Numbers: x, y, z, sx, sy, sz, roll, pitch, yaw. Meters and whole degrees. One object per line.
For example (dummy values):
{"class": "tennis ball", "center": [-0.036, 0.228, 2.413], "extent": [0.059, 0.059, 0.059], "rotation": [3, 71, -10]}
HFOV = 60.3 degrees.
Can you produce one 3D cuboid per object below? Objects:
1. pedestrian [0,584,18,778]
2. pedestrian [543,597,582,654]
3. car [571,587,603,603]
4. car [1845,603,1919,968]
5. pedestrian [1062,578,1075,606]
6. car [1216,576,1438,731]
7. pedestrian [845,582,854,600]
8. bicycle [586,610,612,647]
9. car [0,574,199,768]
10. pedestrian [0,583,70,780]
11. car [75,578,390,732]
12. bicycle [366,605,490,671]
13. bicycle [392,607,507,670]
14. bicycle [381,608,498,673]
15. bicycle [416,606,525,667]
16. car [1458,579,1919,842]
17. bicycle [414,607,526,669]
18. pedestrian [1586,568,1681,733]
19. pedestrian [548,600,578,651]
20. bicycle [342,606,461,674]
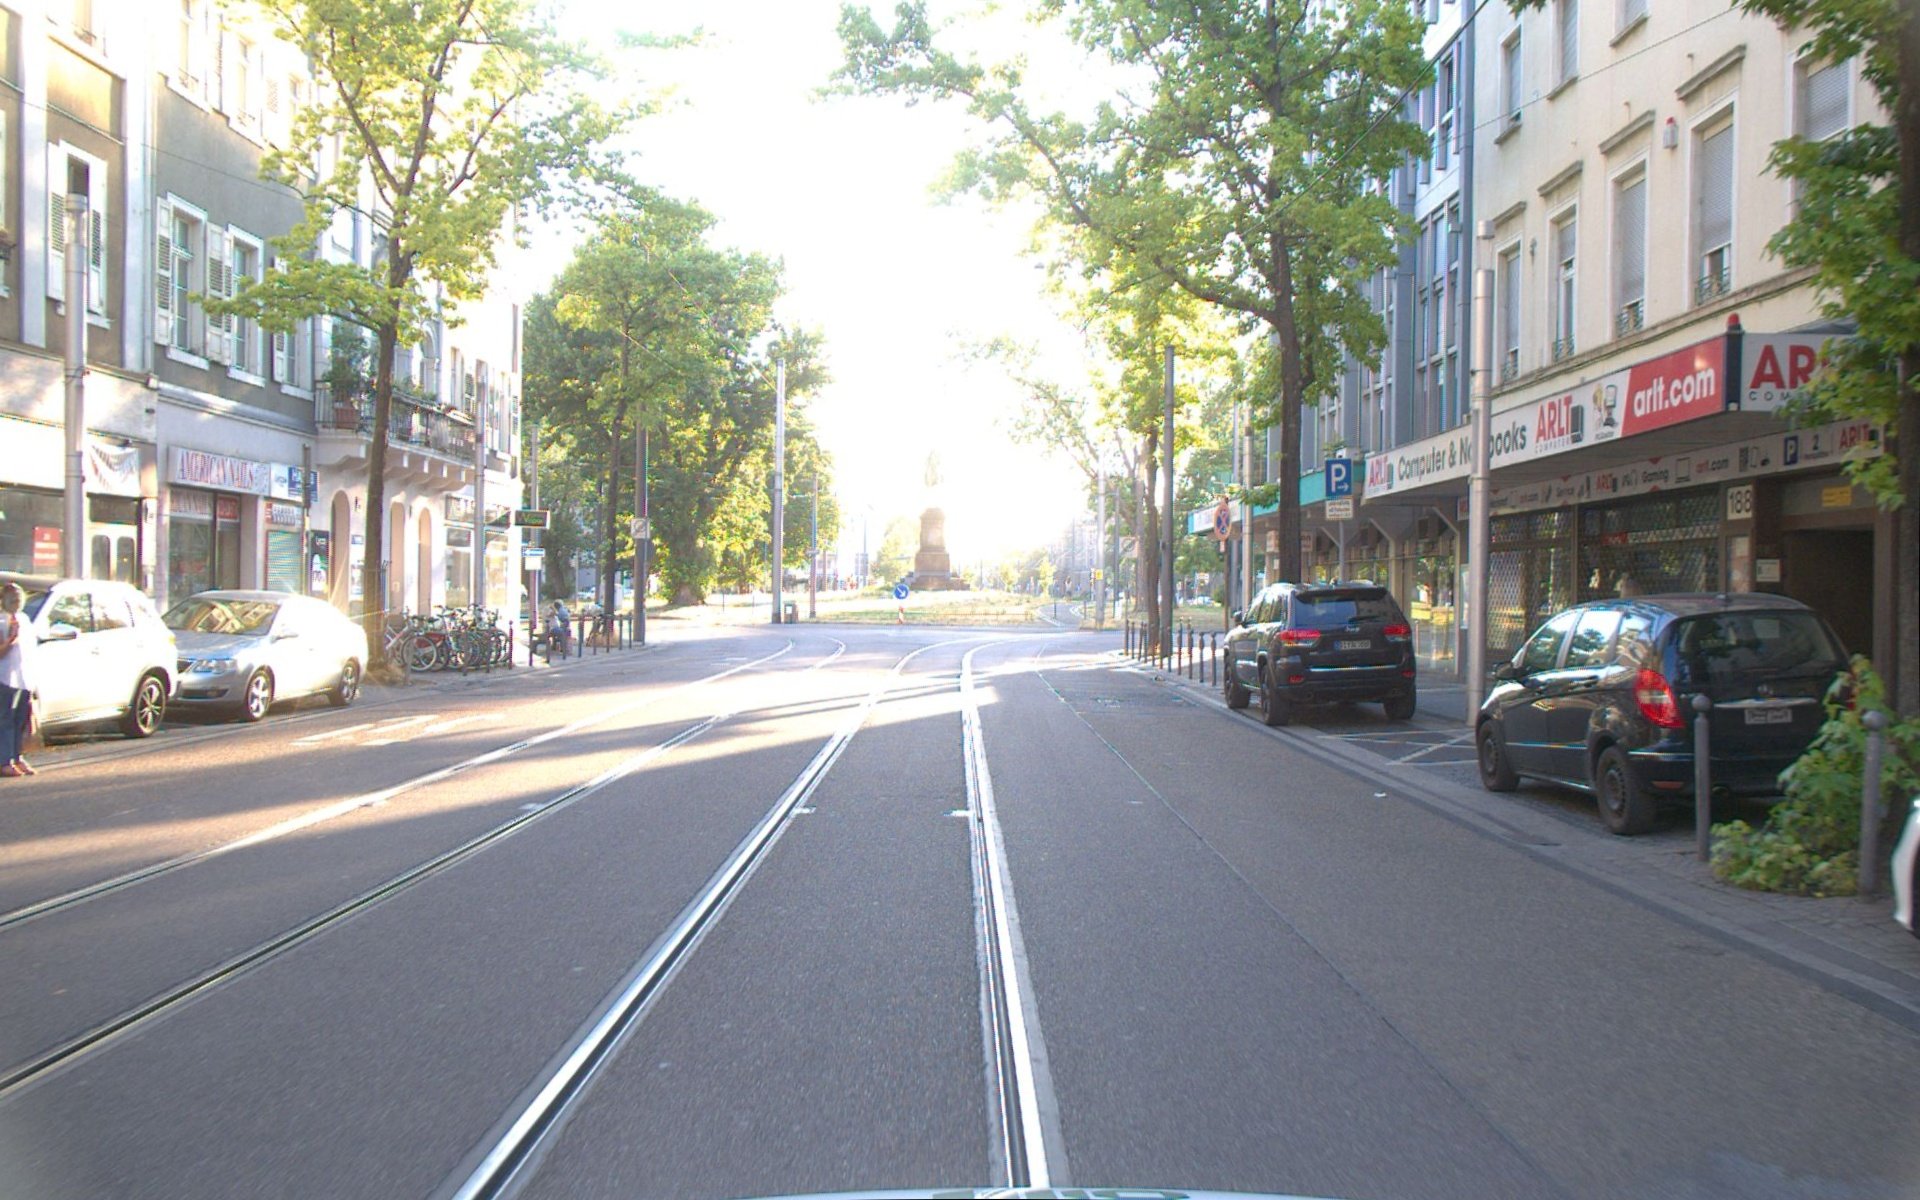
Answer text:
{"class": "pedestrian", "center": [-7.906, 0.642, 12.960], "extent": [0.607, 1.536, 0.729], "rotation": [0, -1, 0]}
{"class": "pedestrian", "center": [-9.411, 0.601, 39.197], "extent": [0.713, 1.313, 0.856], "rotation": [1, 0, -3]}
{"class": "car", "center": [-34.131, -0.473, 151.499], "extent": [1.838, 1.445, 3.926], "rotation": [1, 0, 2]}
{"class": "car", "center": [4.985, 0.764, 5.141], "extent": [1.953, 1.524, 4.680], "rotation": [-3, 0, 1]}
{"class": "pedestrian", "center": [6.499, -0.488, 98.962], "extent": [0.622, 1.634, 0.772], "rotation": [0, 0, 14]}
{"class": "car", "center": [4.855, 0.640, 22.568], "extent": [1.899, 1.790, 4.679], "rotation": [-3, 0, 0]}
{"class": "pedestrian", "center": [-9.862, -0.823, 147.755], "extent": [0.754, 1.634, 0.637], "rotation": [0, 0, -7]}
{"class": "bicycle", "center": [-9.710, 0.752, 44.499], "extent": [0.329, 0.962, 1.510], "rotation": [0, 0, 1]}
{"class": "car", "center": [-9.264, 0.599, 15.983], "extent": [1.799, 1.607, 4.116], "rotation": [4, 0, 0]}
{"class": "pedestrian", "center": [-7.834, 0.664, 13.743], "extent": [0.510, 1.596, 0.634], "rotation": [0, -1, 0]}
{"class": "car", "center": [-9.024, 0.611, 21.022], "extent": [1.799, 1.607, 4.702], "rotation": [4, 0, 0]}
{"class": "bicycle", "center": [-9.706, 0.706, 30.207], "extent": [2.082, 1.124, 0.497], "rotation": [3, -1, -26]}
{"class": "bicycle", "center": [-9.700, 0.738, 31.433], "extent": [1.998, 1.124, 0.497], "rotation": [3, -1, -26]}
{"class": "bicycle", "center": [-9.701, 0.755, 30.846], "extent": [1.998, 1.124, 0.497], "rotation": [3, -1, -26]}
{"class": "bicycle", "center": [-9.725, 0.726, 32.898], "extent": [1.981, 1.124, 0.501], "rotation": [2, -1, 2]}
{"class": "car", "center": [5.340, 0.709, 12.718], "extent": [1.740, 1.618, 3.891], "rotation": [-3, 0, -1]}
{"class": "bicycle", "center": [-9.566, 0.734, 32.313], "extent": [1.981, 1.124, 0.501], "rotation": [2, -1, 2]}
{"class": "pedestrian", "center": [7.241, 0.528, 17.803], "extent": [0.630, 1.699, 0.786], "rotation": [-3, 0, 0]}
{"class": "pedestrian", "center": [-9.809, 0.624, 40.835], "extent": [0.579, 1.214, 0.641], "rotation": [1, 0, -3]}
{"class": "bicycle", "center": [-9.892, 0.715, 29.315], "extent": [1.921, 1.124, 0.563], "rotation": [3, -1, -26]}
